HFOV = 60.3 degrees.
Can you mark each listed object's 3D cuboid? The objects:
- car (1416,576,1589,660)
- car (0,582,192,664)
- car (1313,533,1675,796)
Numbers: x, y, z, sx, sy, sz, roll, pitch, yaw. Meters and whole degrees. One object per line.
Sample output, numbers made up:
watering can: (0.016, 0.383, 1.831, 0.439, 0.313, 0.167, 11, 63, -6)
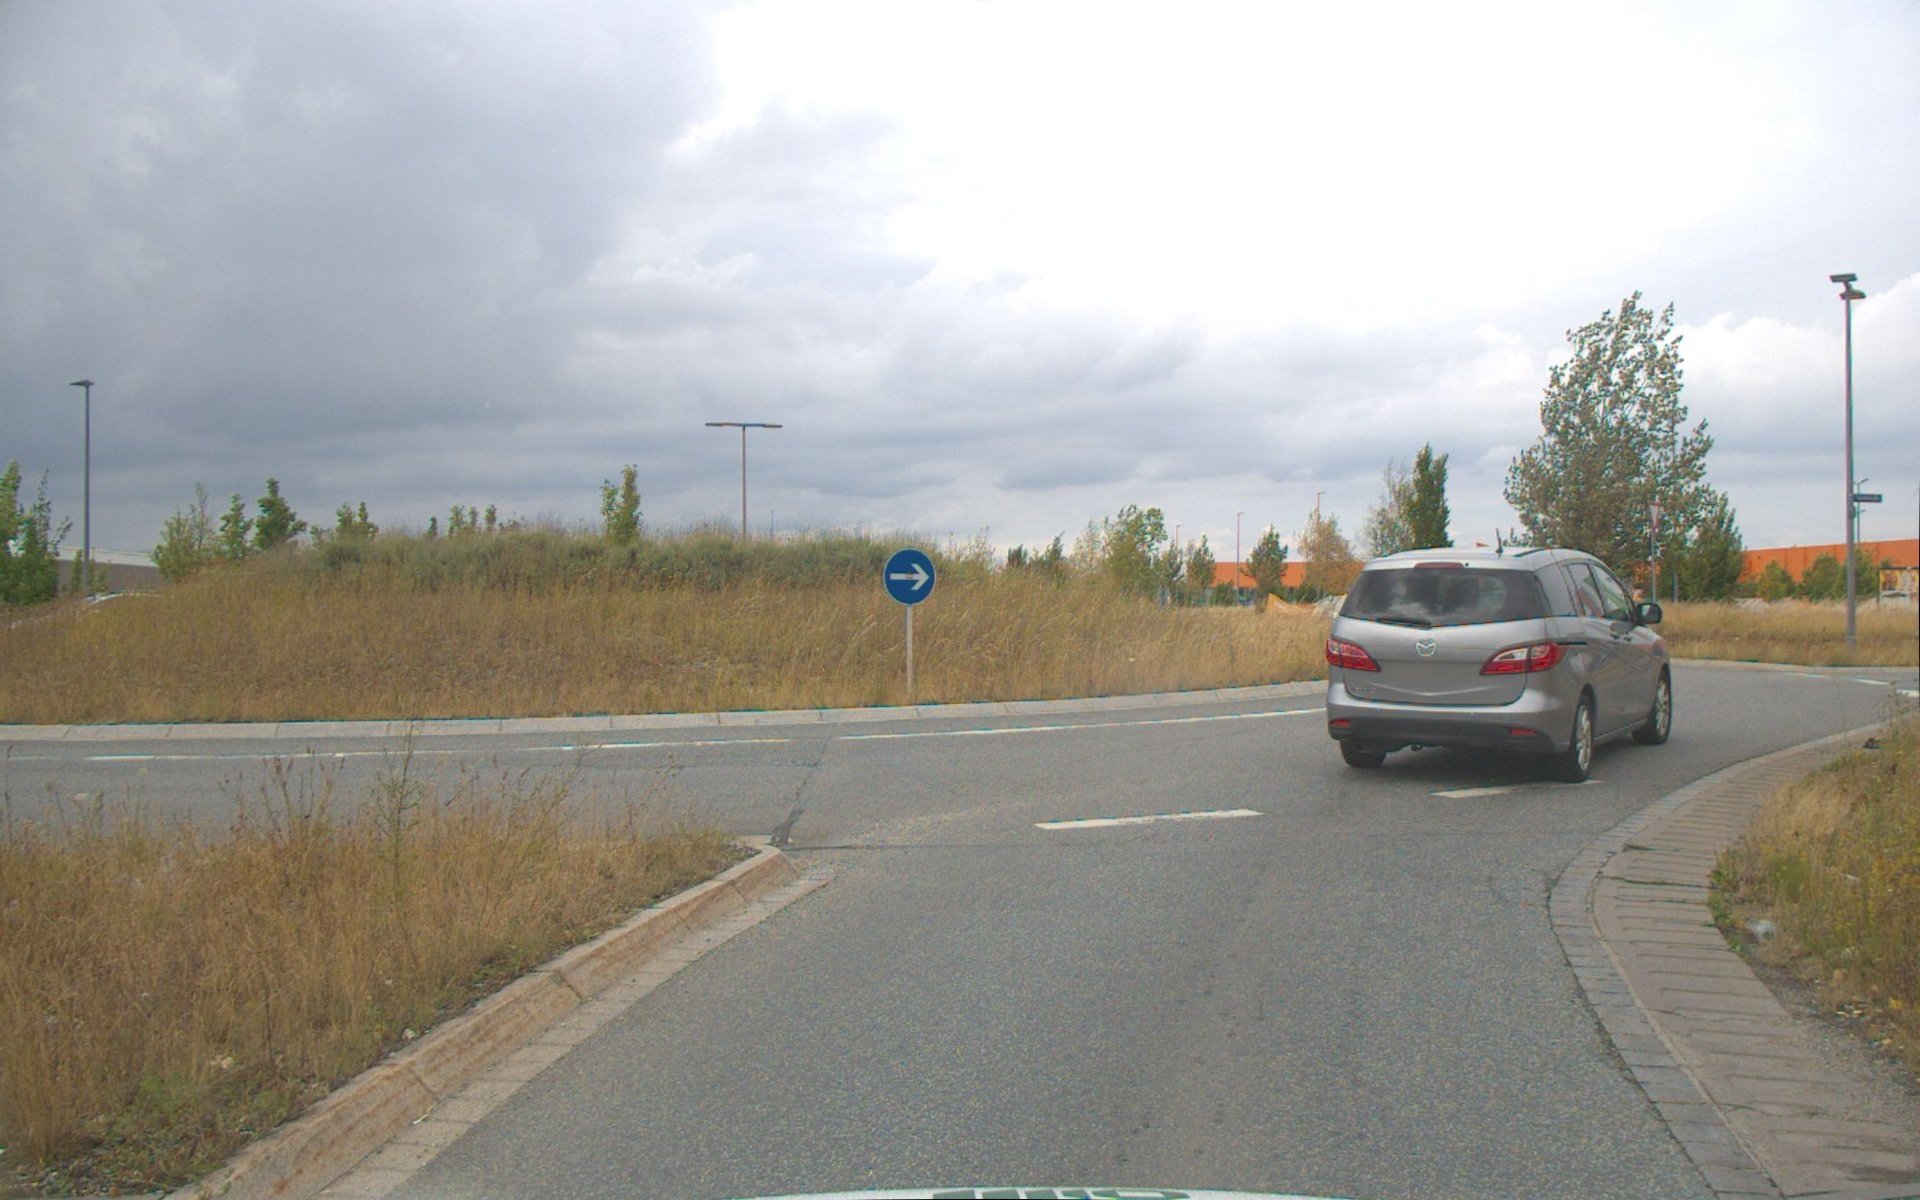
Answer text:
car: (10.179, 0.291, 31.346, 1.704, 1.428, 3.994, 0, 2, -5)
car: (-19.360, 0.483, 36.447, 1.699, 1.585, 4.070, -2, 1, 37)
car: (4.226, 0.328, 12.698, 1.707, 1.626, 3.988, 2, 3, 32)
